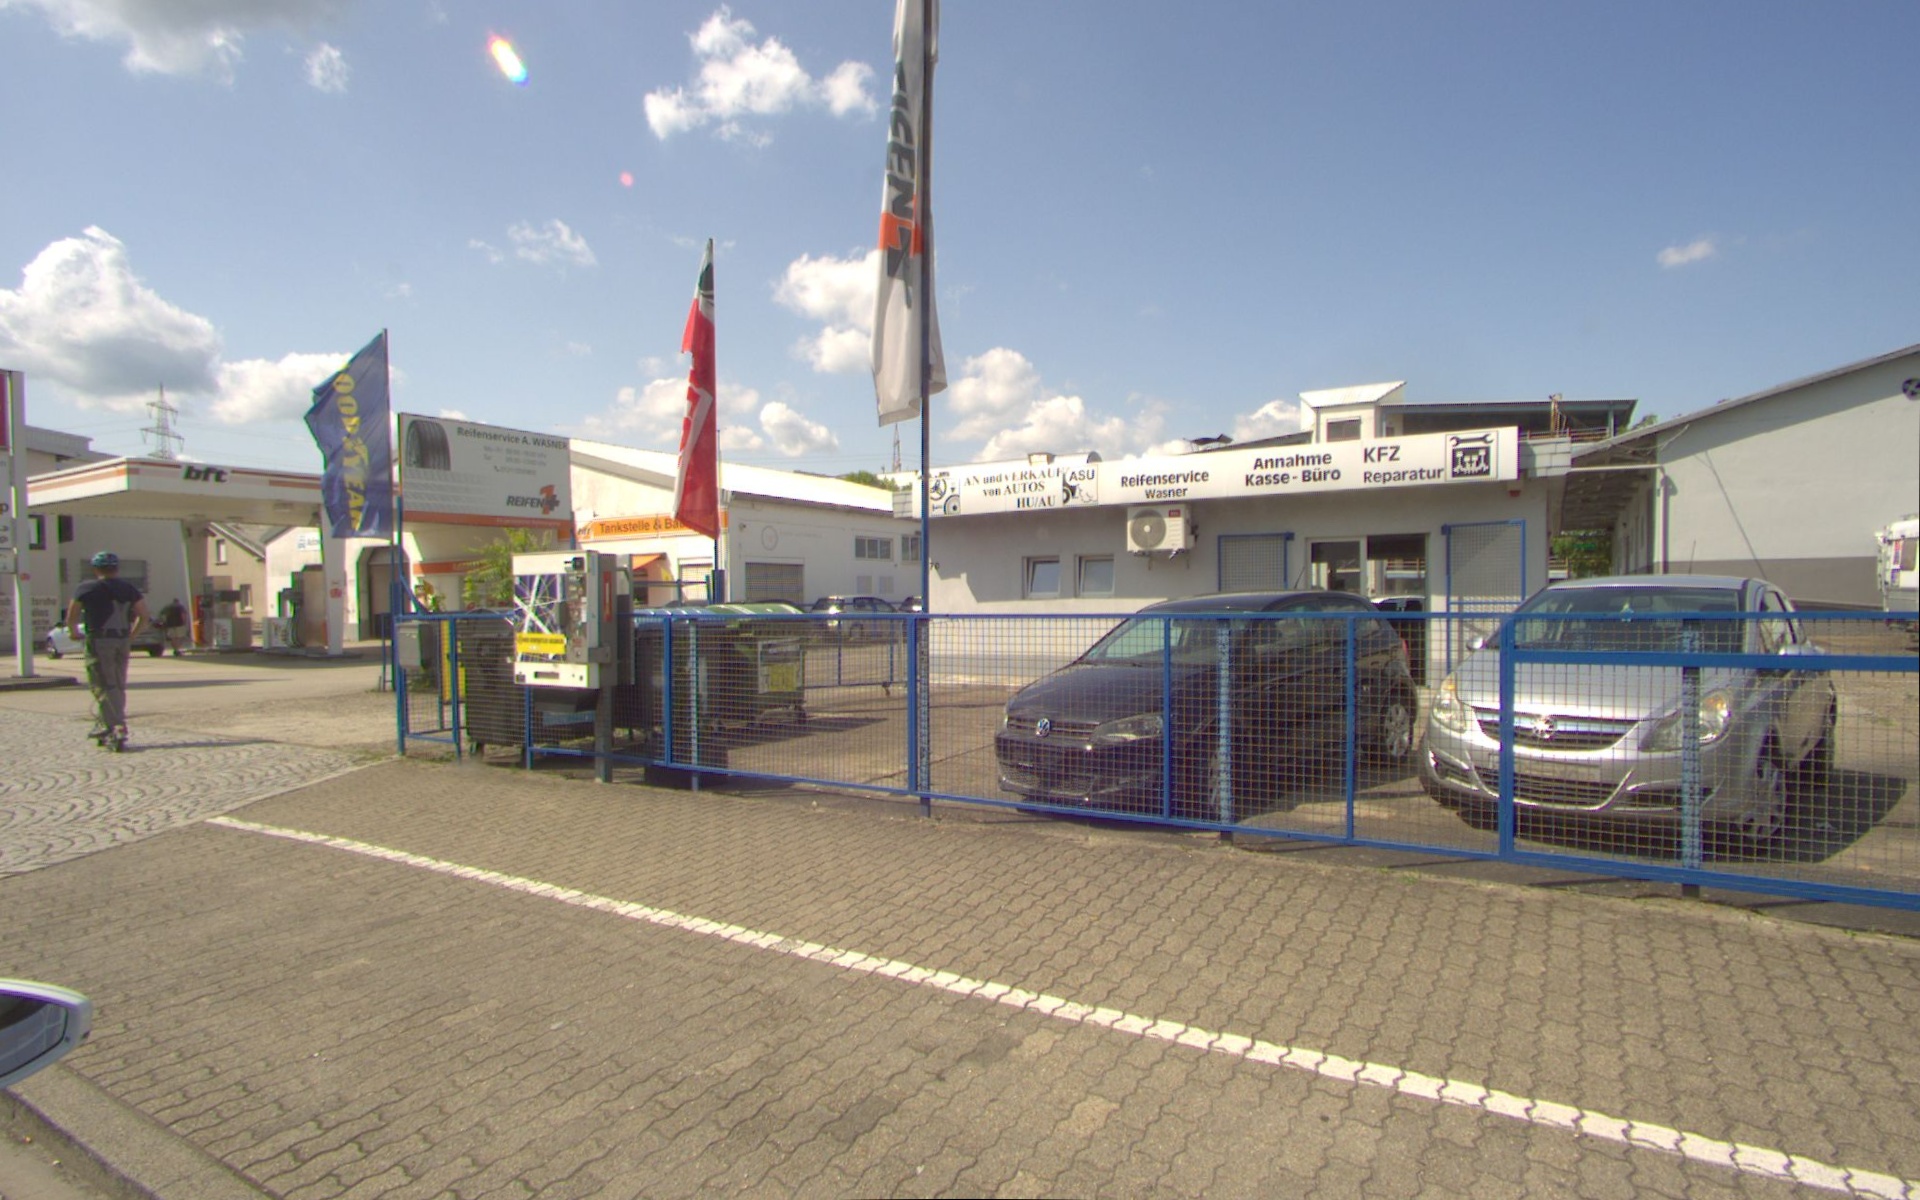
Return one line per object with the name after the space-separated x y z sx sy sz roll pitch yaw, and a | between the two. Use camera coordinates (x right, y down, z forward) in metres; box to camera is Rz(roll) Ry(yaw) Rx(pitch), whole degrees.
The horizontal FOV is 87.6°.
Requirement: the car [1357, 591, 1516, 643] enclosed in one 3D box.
14.112 0.499 29.679 4.119 1.406 1.918 -1 1 31 | car

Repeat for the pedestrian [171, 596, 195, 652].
-23.806 0.734 30.683 0.478 1.711 0.395 -1 2 33 | pedestrian

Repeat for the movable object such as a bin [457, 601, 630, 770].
-3.951 0.760 9.560 0.812 1.463 1.253 -1 1 32 | movable object such as a bin

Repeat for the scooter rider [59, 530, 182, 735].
-8.564 0.326 10.225 0.774 1.989 0.715 -1 1 32 | scooter rider

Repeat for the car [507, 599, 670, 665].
-8.703 0.717 23.680 1.589 1.379 3.312 -1 1 32 | car

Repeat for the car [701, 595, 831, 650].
-5.356 0.604 27.997 1.589 1.379 3.488 -1 1 32 | car

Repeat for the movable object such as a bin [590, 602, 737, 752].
-3.134 0.772 10.670 0.812 1.463 1.253 -1 1 32 | movable object such as a bin

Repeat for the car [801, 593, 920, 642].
-3.089 0.536 31.911 1.590 1.406 3.998 -1 1 33 | car

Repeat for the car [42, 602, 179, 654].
-25.855 0.846 30.481 3.941 1.439 1.956 -1 1 30 | car

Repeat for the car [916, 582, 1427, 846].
1.747 0.620 7.482 3.955 1.462 1.696 -1 0 -41 | car

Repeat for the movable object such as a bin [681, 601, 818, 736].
-2.457 0.761 11.809 0.939 1.463 1.320 -1 1 25 | movable object such as a bin

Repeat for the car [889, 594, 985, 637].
-0.760 0.516 35.569 1.590 1.406 3.652 -1 1 33 | car

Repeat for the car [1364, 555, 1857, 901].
4.315 0.547 6.368 3.958 1.516 1.734 -1 0 -43 | car

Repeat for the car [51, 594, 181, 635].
-37.176 0.604 44.197 1.937 1.671 3.979 -1 1 31 | car

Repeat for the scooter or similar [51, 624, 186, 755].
-8.514 0.867 10.119 1.588 1.211 0.539 -1 1 32 | scooter or similar

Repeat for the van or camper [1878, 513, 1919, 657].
21.392 -0.363 19.323 4.986 2.810 2.304 -1 1 29 | van or camper
